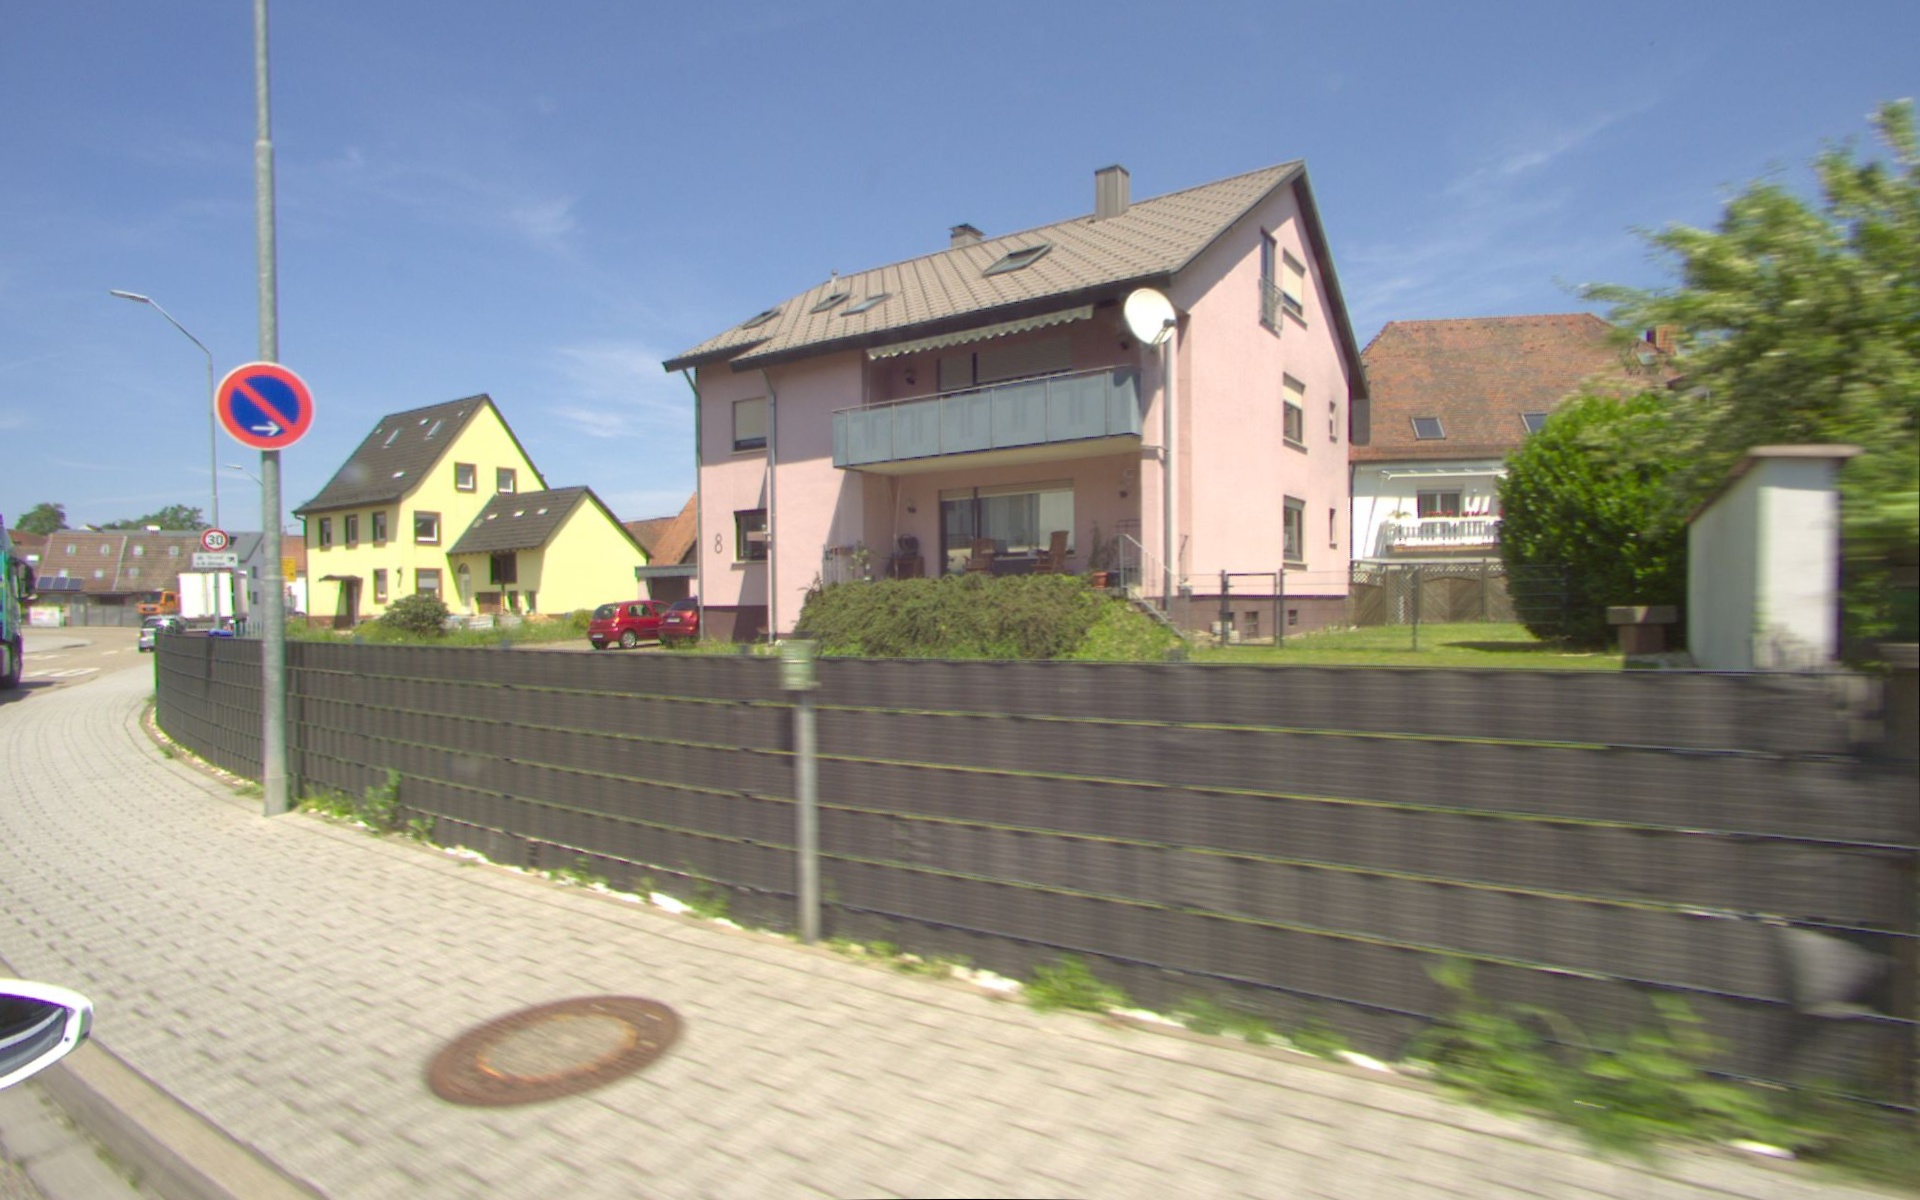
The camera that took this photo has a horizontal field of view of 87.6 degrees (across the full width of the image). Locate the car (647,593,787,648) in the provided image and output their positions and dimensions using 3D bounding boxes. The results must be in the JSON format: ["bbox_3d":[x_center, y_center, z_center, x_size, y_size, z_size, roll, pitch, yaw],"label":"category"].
[{"bbox_3d":[-7.339,0.606,30.612,1.824,1.568,4.105,-1,-1,32],"label":"car"}]

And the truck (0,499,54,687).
[{"bbox_3d":[-22.788,-0.129,22.273,2.957,4.017,5.546,0,-1,-32],"label":"truck"}]

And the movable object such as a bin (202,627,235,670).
[{"bbox_3d":[-19.038,1.236,25.696,0.644,1.071,0.561,-1,0,43],"label":"movable object such as a bin"}]

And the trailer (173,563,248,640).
[{"bbox_3d":[-46.461,0.194,62.392,3.101,4.333,12.414,0,-1,-34],"label":"trailer"}]

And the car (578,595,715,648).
[{"bbox_3d":[-9.772,0.635,31.445,1.738,1.506,3.812,-1,1,35],"label":"car"}]

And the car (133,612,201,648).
[{"bbox_3d":[-34.814,1.300,44.057,1.822,1.505,3.978,0,-1,-31],"label":"car"}]

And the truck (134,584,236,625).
[{"bbox_3d":[-66.377,0.459,86.011,2.618,3.221,7.466,0,-2,4],"label":"truck"}]

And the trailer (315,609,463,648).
[{"bbox_3d":[-24.865,1.223,43.817,2.106,1.566,5.340,-1,-1,30],"label":"trailer"}]
